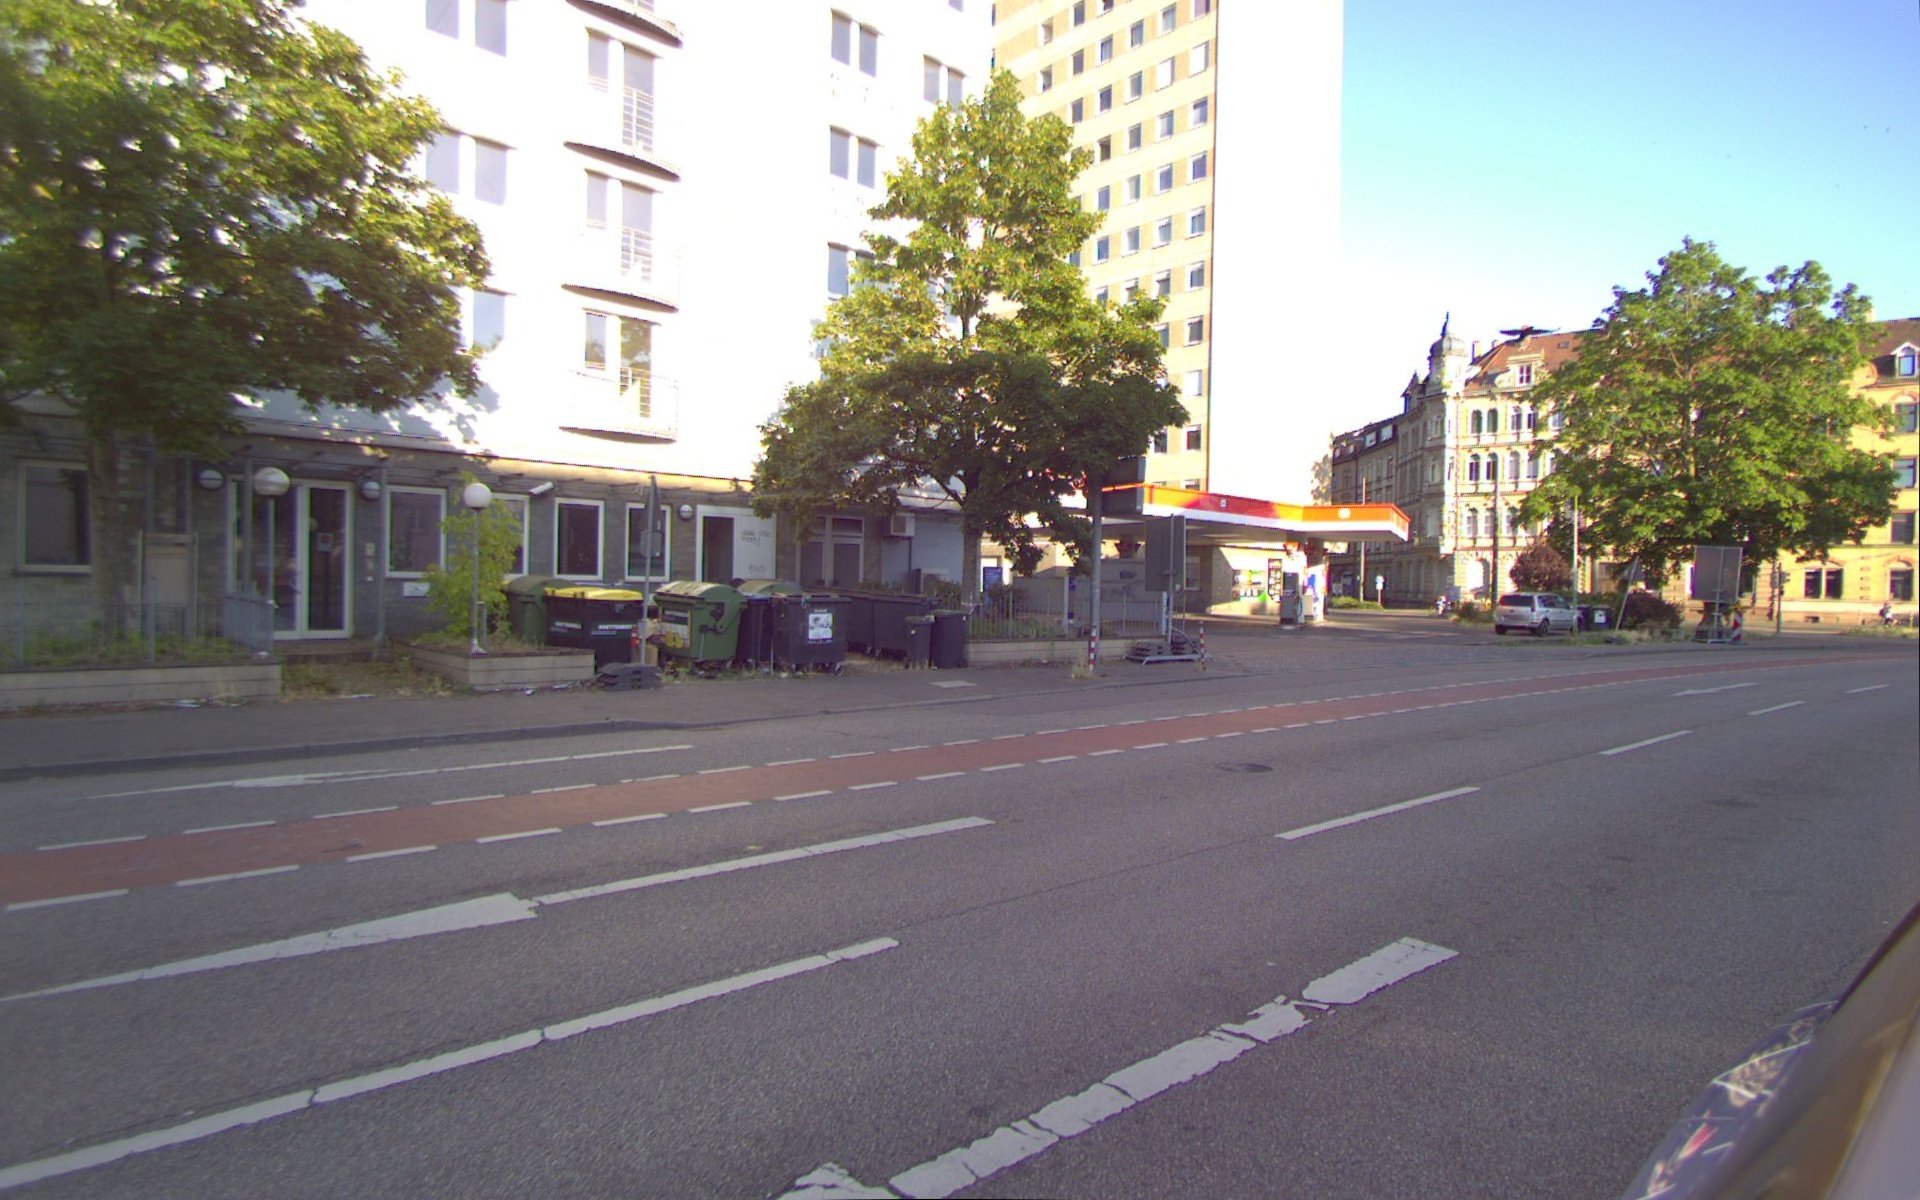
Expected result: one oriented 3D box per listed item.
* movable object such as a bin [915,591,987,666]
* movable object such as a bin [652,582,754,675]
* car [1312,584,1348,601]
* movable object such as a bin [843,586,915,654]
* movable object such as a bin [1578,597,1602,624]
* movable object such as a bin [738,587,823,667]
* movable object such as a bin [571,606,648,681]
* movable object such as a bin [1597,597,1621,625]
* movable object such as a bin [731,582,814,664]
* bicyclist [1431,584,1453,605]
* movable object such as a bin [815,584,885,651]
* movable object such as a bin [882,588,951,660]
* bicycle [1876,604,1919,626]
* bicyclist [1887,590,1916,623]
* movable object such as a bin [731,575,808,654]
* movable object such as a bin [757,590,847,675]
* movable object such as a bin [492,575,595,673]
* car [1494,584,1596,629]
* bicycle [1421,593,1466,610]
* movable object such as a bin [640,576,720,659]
[{"bbox_3d":[-0.175,0.509,18.946,0.938,1.345,0.954,0,1,-43],"label":"movable object such as a bin"},{"bbox_3d":[-4.220,0.432,16.616,1.088,1.441,1.348,0,1,-45],"label":"movable object such as a bin"},{"bbox_3d":[35.270,-0.749,96.653,1.962,1.552,4.000,1,1,0],"label":"car"},{"bbox_3d":[-1.625,0.377,20.398,1.080,1.299,0.954,0,1,-43],"label":"movable object such as a bin"},{"bbox_3d":[24.523,0.401,39.390,0.674,1.031,0.544,0,1,-35],"label":"movable object such as a bin"},{"bbox_3d":[-3.162,0.450,17.854,1.143,1.345,0.954,0,1,-43],"label":"movable object such as a bin"},{"bbox_3d":[-5.296,0.638,15.276,0.806,1.058,0.851,0,1,-45],"label":"movable object such as a bin"},{"bbox_3d":[24.832,0.415,38.703,0.674,1.031,0.544,0,1,-35],"label":"movable object such as a bin"},{"bbox_3d":[-3.514,0.399,18.986,1.143,1.467,1.033,0,1,-43],"label":"movable object such as a bin"},{"bbox_3d":[32.062,-0.395,67.282,1.066,1.382,0.841,-1,0,45],"label":"bicyclist"},{"bbox_3d":[-2.300,0.348,21.131,1.080,1.345,0.954,0,1,-43],"label":"movable object such as a bin"},{"bbox_3d":[-0.853,0.448,19.654,0.938,1.345,0.954,0,1,-43],"label":"movable object such as a bin"},{"bbox_3d":[49.112,0.787,52.835,1.921,1.072,0.444,2,1,43],"label":"bicycle"},{"bbox_3d":[49.220,0.324,52.918,1.062,1.670,0.721,2,1,43],"label":"bicyclist"},{"bbox_3d":[-3.826,0.261,20.296,1.143,1.517,1.033,0,1,-43],"label":"movable object such as a bin"},{"bbox_3d":[-2.640,0.518,16.897,1.143,1.345,0.954,0,1,-43],"label":"movable object such as a bin"},{"bbox_3d":[-6.678,0.352,16.217,1.088,1.479,1.348,0,1,-45],"label":"movable object such as a bin"},{"bbox_3d":[21.117,0.205,36.501,3.723,1.536,1.691,-1,2,-34],"label":"car"},{"bbox_3d":[32.070,0.090,67.174,2.613,1.083,0.772,-1,0,44],"label":"bicycle"},{"bbox_3d":[-5.376,0.314,19.429,1.143,1.517,1.033,0,1,-43],"label":"movable object such as a bin"}]
